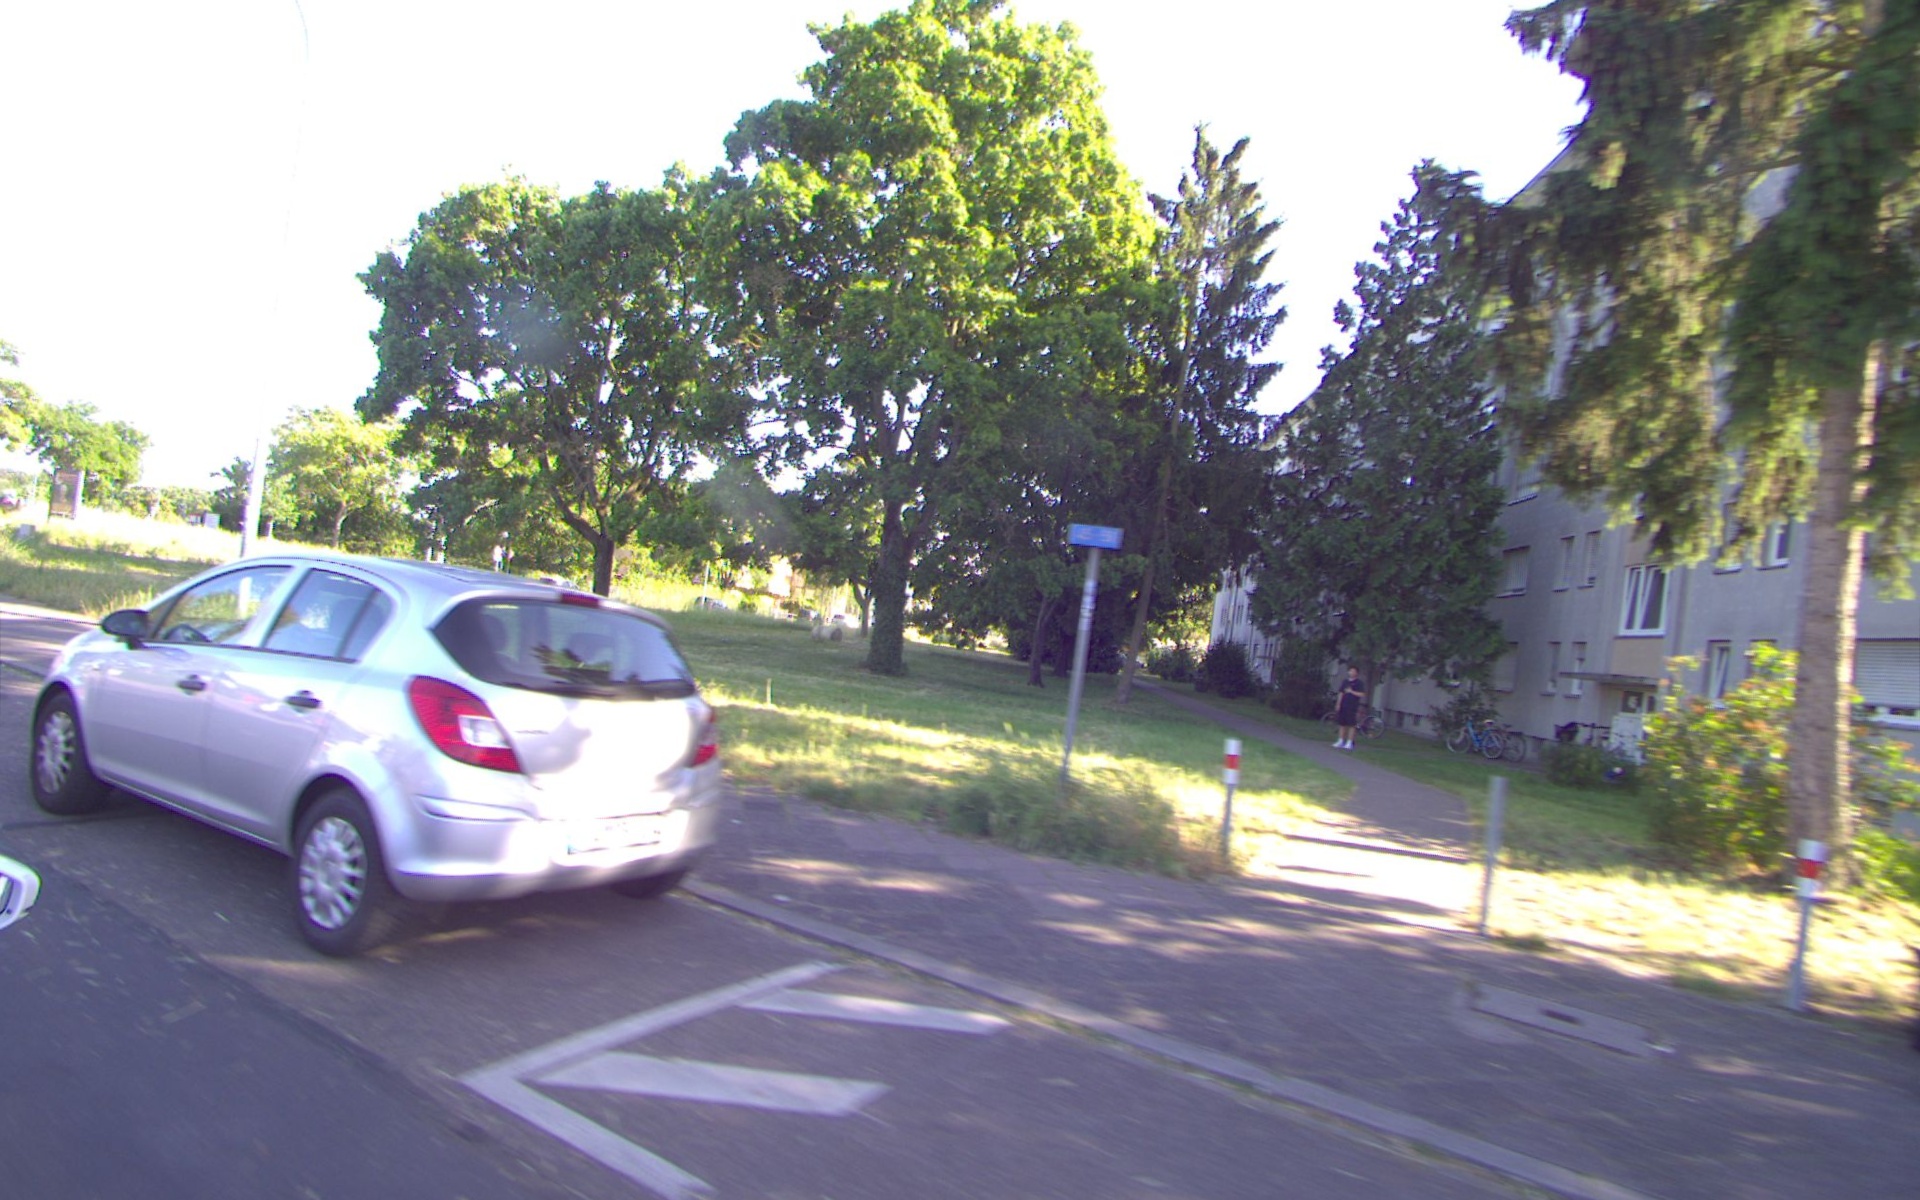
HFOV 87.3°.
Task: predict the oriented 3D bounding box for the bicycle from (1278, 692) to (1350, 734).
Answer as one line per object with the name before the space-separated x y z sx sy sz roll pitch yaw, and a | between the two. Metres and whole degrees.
bicycle | 9.496 3.024 26.998 1.652 0.856 0.512 6 -4 32

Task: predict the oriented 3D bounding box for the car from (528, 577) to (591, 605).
car | -23.432 -0.509 58.972 1.694 1.498 3.741 3 0 9

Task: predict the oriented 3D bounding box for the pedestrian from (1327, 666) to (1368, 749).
pedestrian | 8.334 2.313 21.635 0.529 1.680 0.489 5 -4 42

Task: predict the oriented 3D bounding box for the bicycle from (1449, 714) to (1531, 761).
bicycle | 12.779 3.314 24.288 1.652 0.856 0.512 6 -4 32

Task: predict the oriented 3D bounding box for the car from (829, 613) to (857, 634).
car | -12.790 2.603 110.367 1.672 1.873 3.855 9 -1 11

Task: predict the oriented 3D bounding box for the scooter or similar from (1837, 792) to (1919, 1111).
scooter or similar | 4.588 1.540 4.277 1.231 1.242 0.400 7 0 1

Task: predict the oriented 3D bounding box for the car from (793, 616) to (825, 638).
car | -15.024 2.682 100.295 1.672 1.780 3.855 9 -1 11

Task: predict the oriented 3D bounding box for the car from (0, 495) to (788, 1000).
car | -2.957 0.492 5.068 3.724 1.560 1.736 6 -3 30

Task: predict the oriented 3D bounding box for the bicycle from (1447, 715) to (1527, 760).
bicycle | 13.055 3.403 24.952 1.652 0.856 0.512 6 -4 32
